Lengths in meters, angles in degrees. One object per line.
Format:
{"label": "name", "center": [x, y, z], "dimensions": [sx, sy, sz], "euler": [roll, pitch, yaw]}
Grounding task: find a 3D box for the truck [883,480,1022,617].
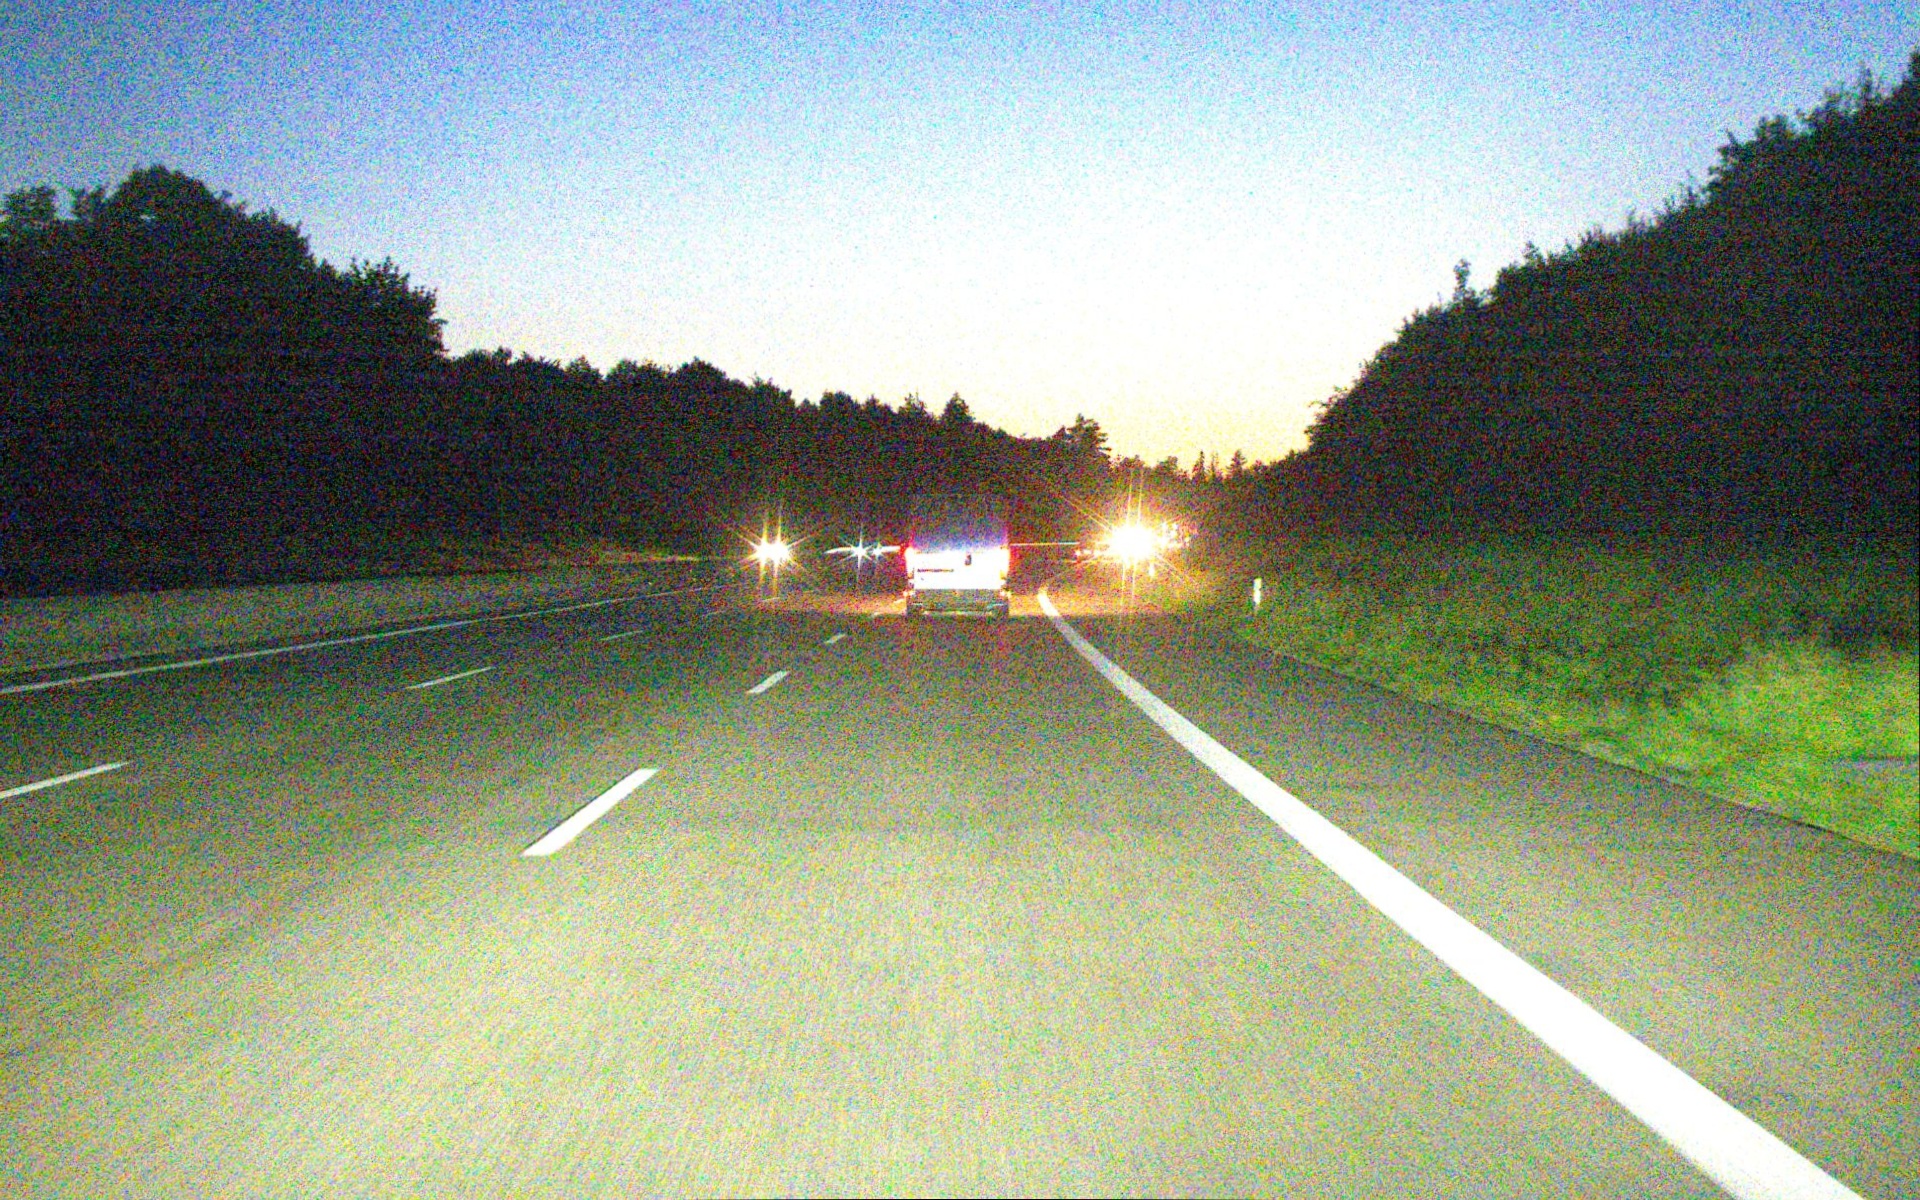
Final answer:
{"label": "truck", "center": [-0.238, -1.041, 70.633], "dimensions": [2.630, 2.615, 8.685], "euler": [1, 1, -1]}
